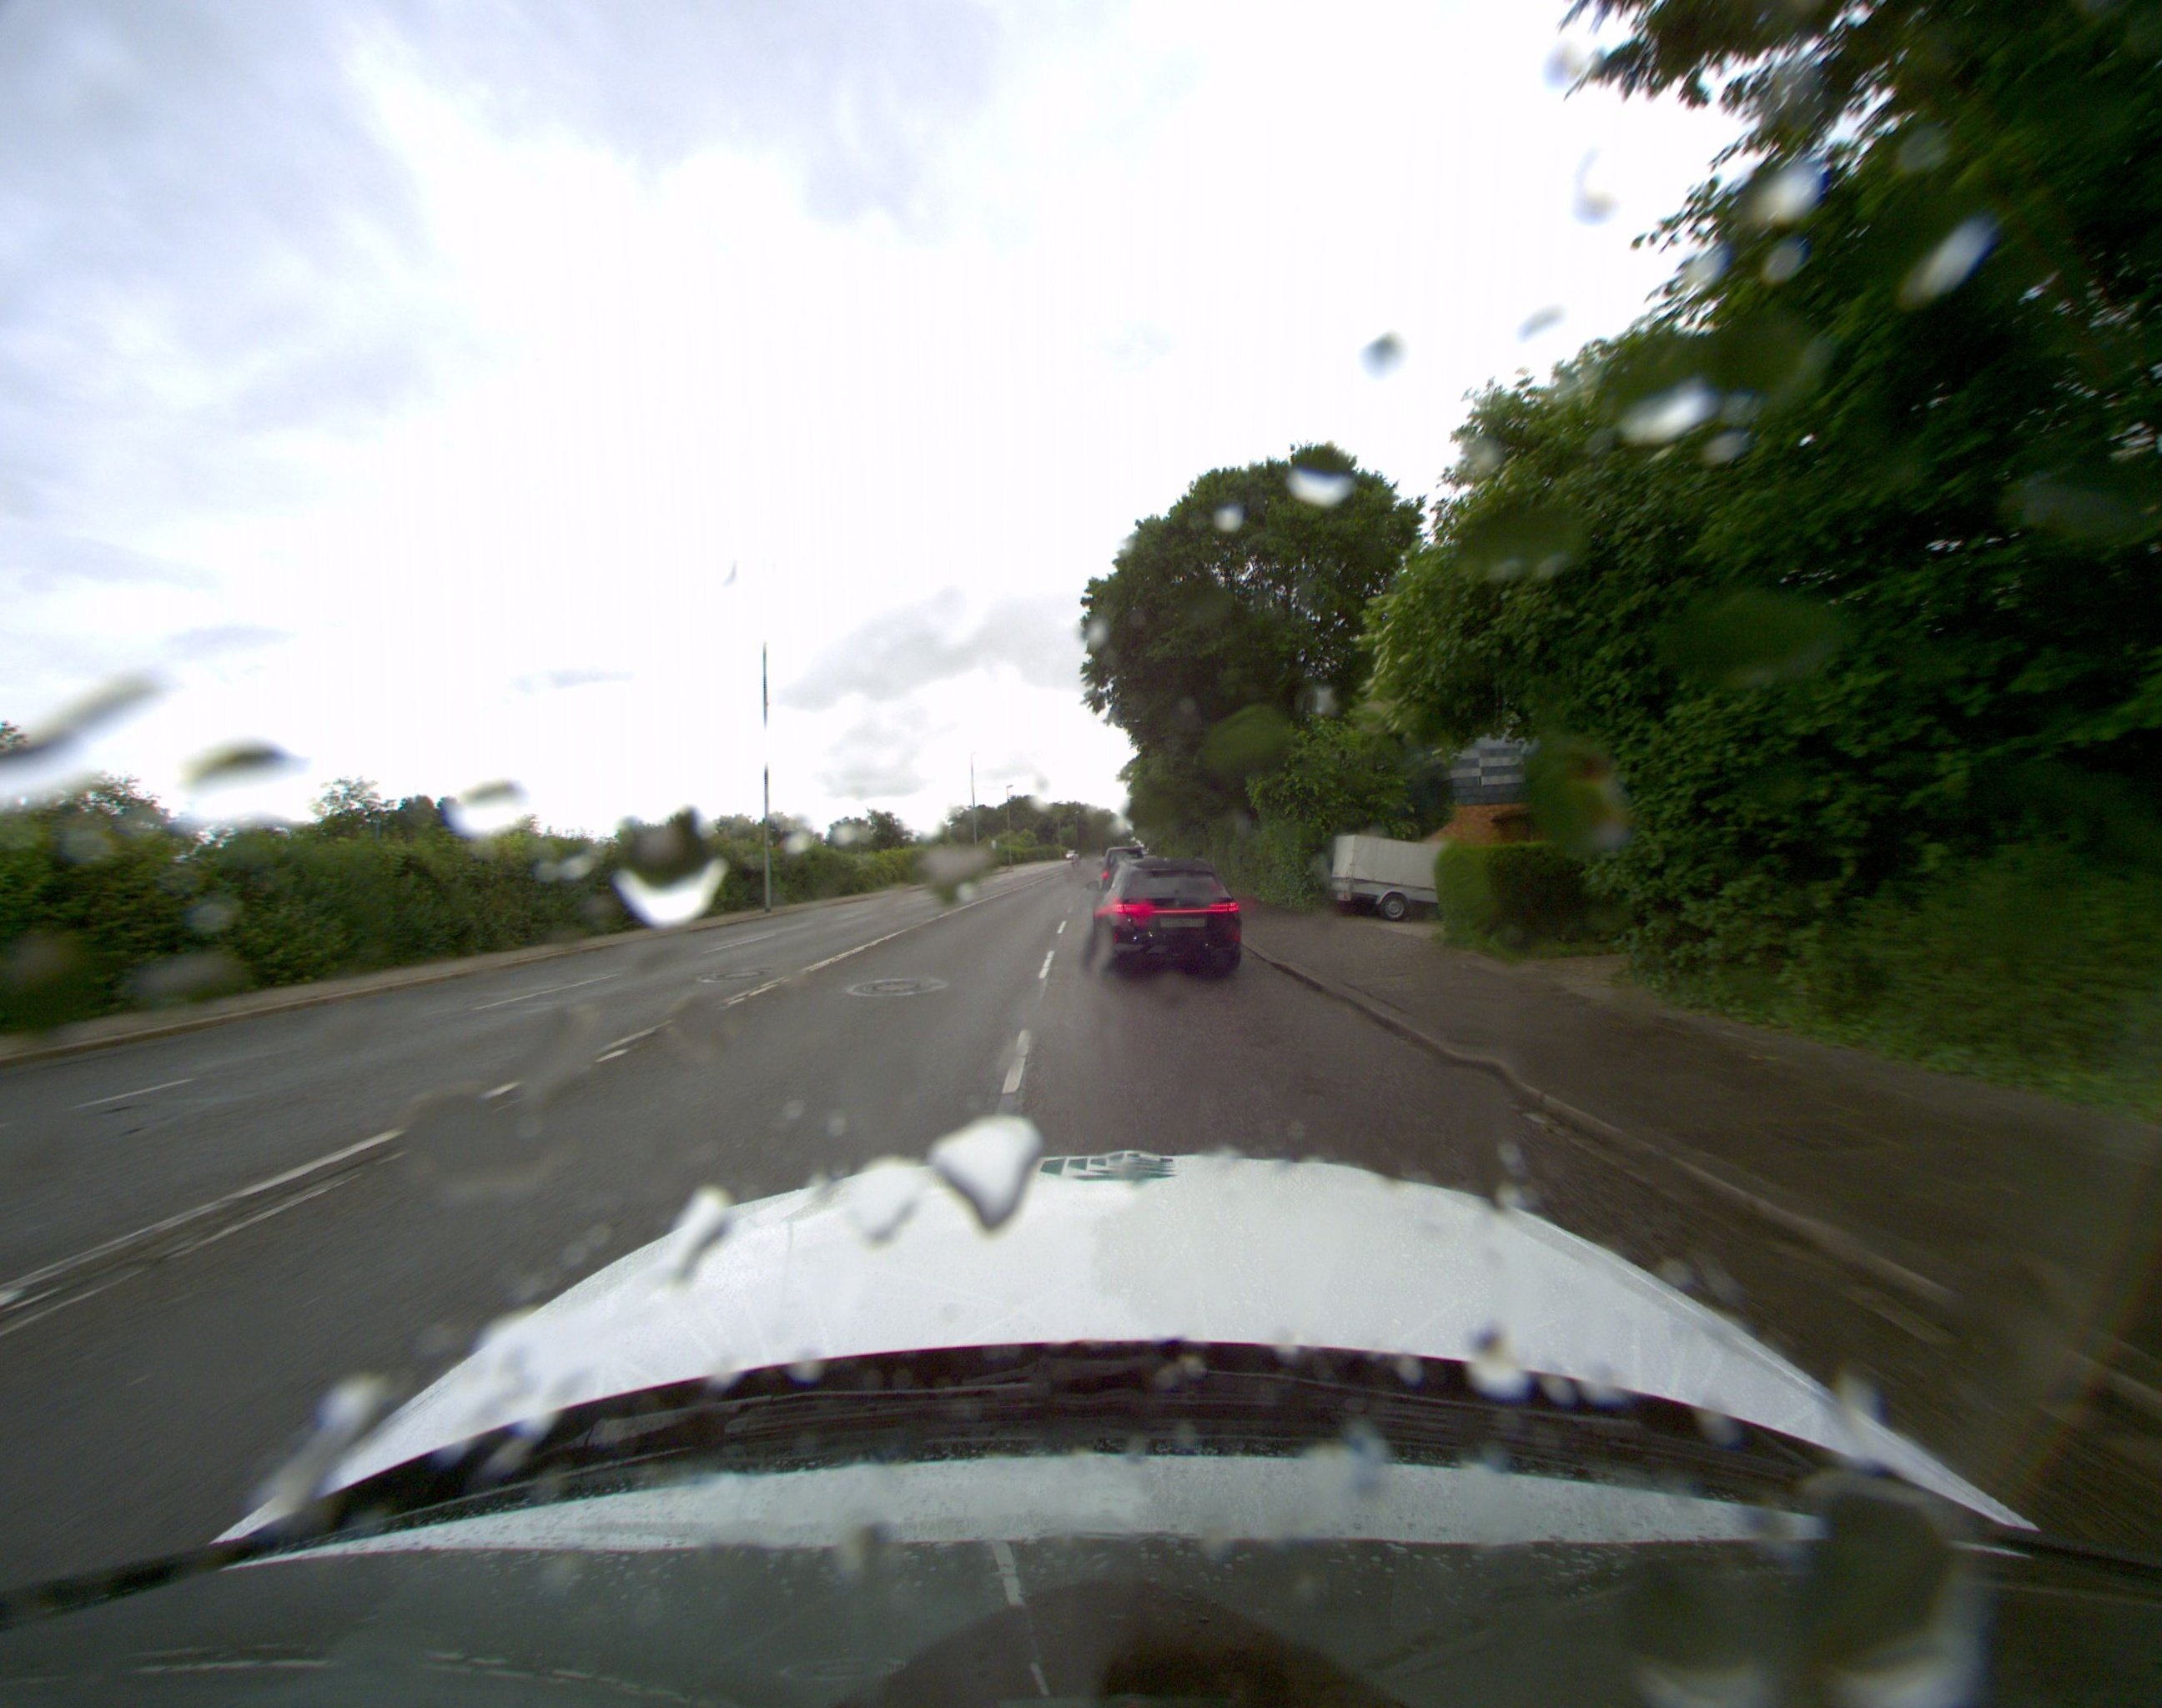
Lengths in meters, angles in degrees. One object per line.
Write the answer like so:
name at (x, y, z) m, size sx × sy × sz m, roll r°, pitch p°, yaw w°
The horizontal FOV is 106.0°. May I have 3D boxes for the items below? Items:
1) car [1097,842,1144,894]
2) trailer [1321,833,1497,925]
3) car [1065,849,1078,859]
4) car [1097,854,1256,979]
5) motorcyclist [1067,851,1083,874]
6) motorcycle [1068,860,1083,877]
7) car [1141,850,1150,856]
car at (1.593, 0.510, 32.215) m, size 1.622 × 1.833 × 4.004 m, roll -3°, pitch 0°, yaw 4°
trailer at (6.773, 0.507, 16.982) m, size 2.971 × 1.570 × 1.488 m, roll 5°, pitch -1°, yaw -1°
car at (-1.587, -0.031, 135.419) m, size 1.749 × 1.568 × 4.002 m, roll -4°, pitch 0°, yaw 2°
car at (1.308, 0.759, 11.785) m, size 1.888 × 1.489 × 4.005 m, roll -1°, pitch 0°, yaw 5°
motorcyclist at (-0.396, 0.562, 56.366) m, size 1.035 × 1.567 × 0.856 m, roll -1°, pitch -1°, yaw 3°
motorcycle at (-0.377, 0.995, 56.540) m, size 0.872 × 1.124 × 2.744 m, roll -1°, pitch -1°, yaw 4°
car at (14.933, -0.238, 188.864) m, size 1.925 × 1.442 × 4.416 m, roll -3°, pitch 0°, yaw 6°
